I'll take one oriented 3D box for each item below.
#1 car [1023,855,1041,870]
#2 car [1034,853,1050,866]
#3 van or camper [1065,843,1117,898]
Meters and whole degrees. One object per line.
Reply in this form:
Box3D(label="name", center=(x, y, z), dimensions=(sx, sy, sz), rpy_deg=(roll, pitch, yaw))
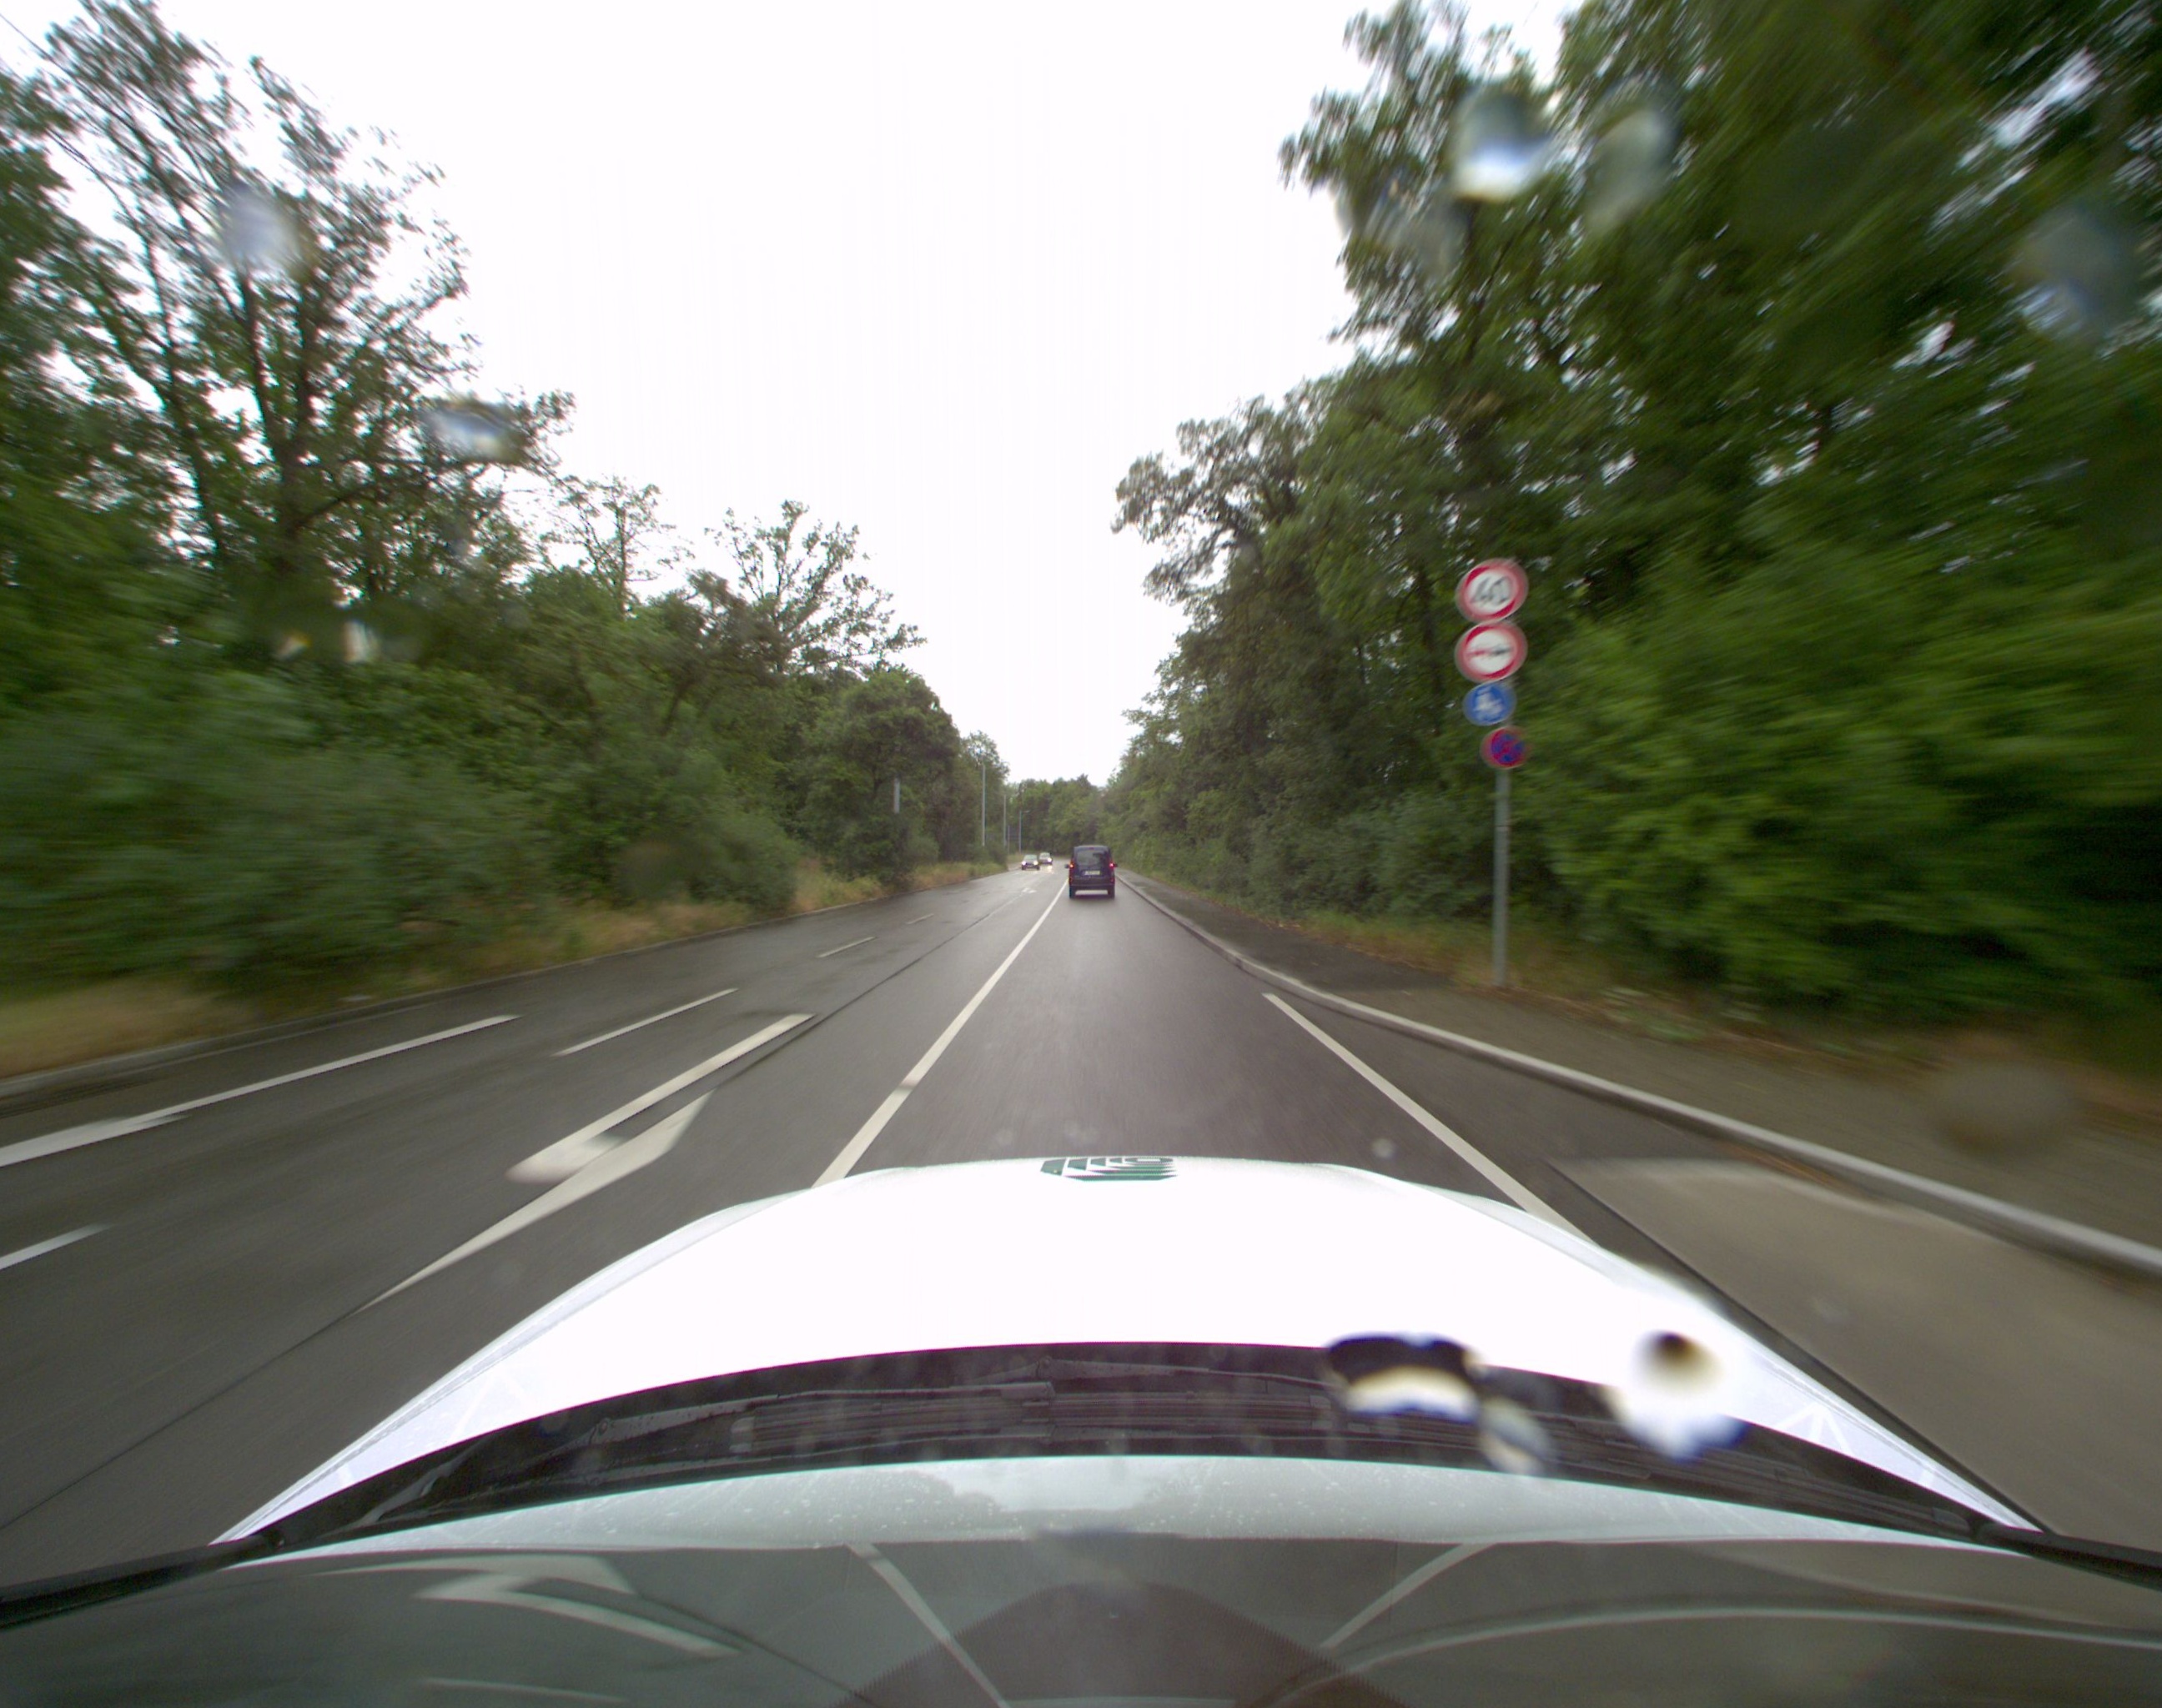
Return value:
Box3D(label="car", center=(-4.837, 0.827, 80.585), dimensions=(1.594, 1.441, 3.990), rpy_deg=(-1, 0, 0))
Box3D(label="car", center=(-4.991, 0.745, 103.887), dimensions=(1.766, 1.610, 4.084), rpy_deg=(0, 0, 0))
Box3D(label="van or camper", center=(0.333, 0.564, 29.907), dimensions=(1.707, 1.826, 3.999), rpy_deg=(-2, 0, 0))
